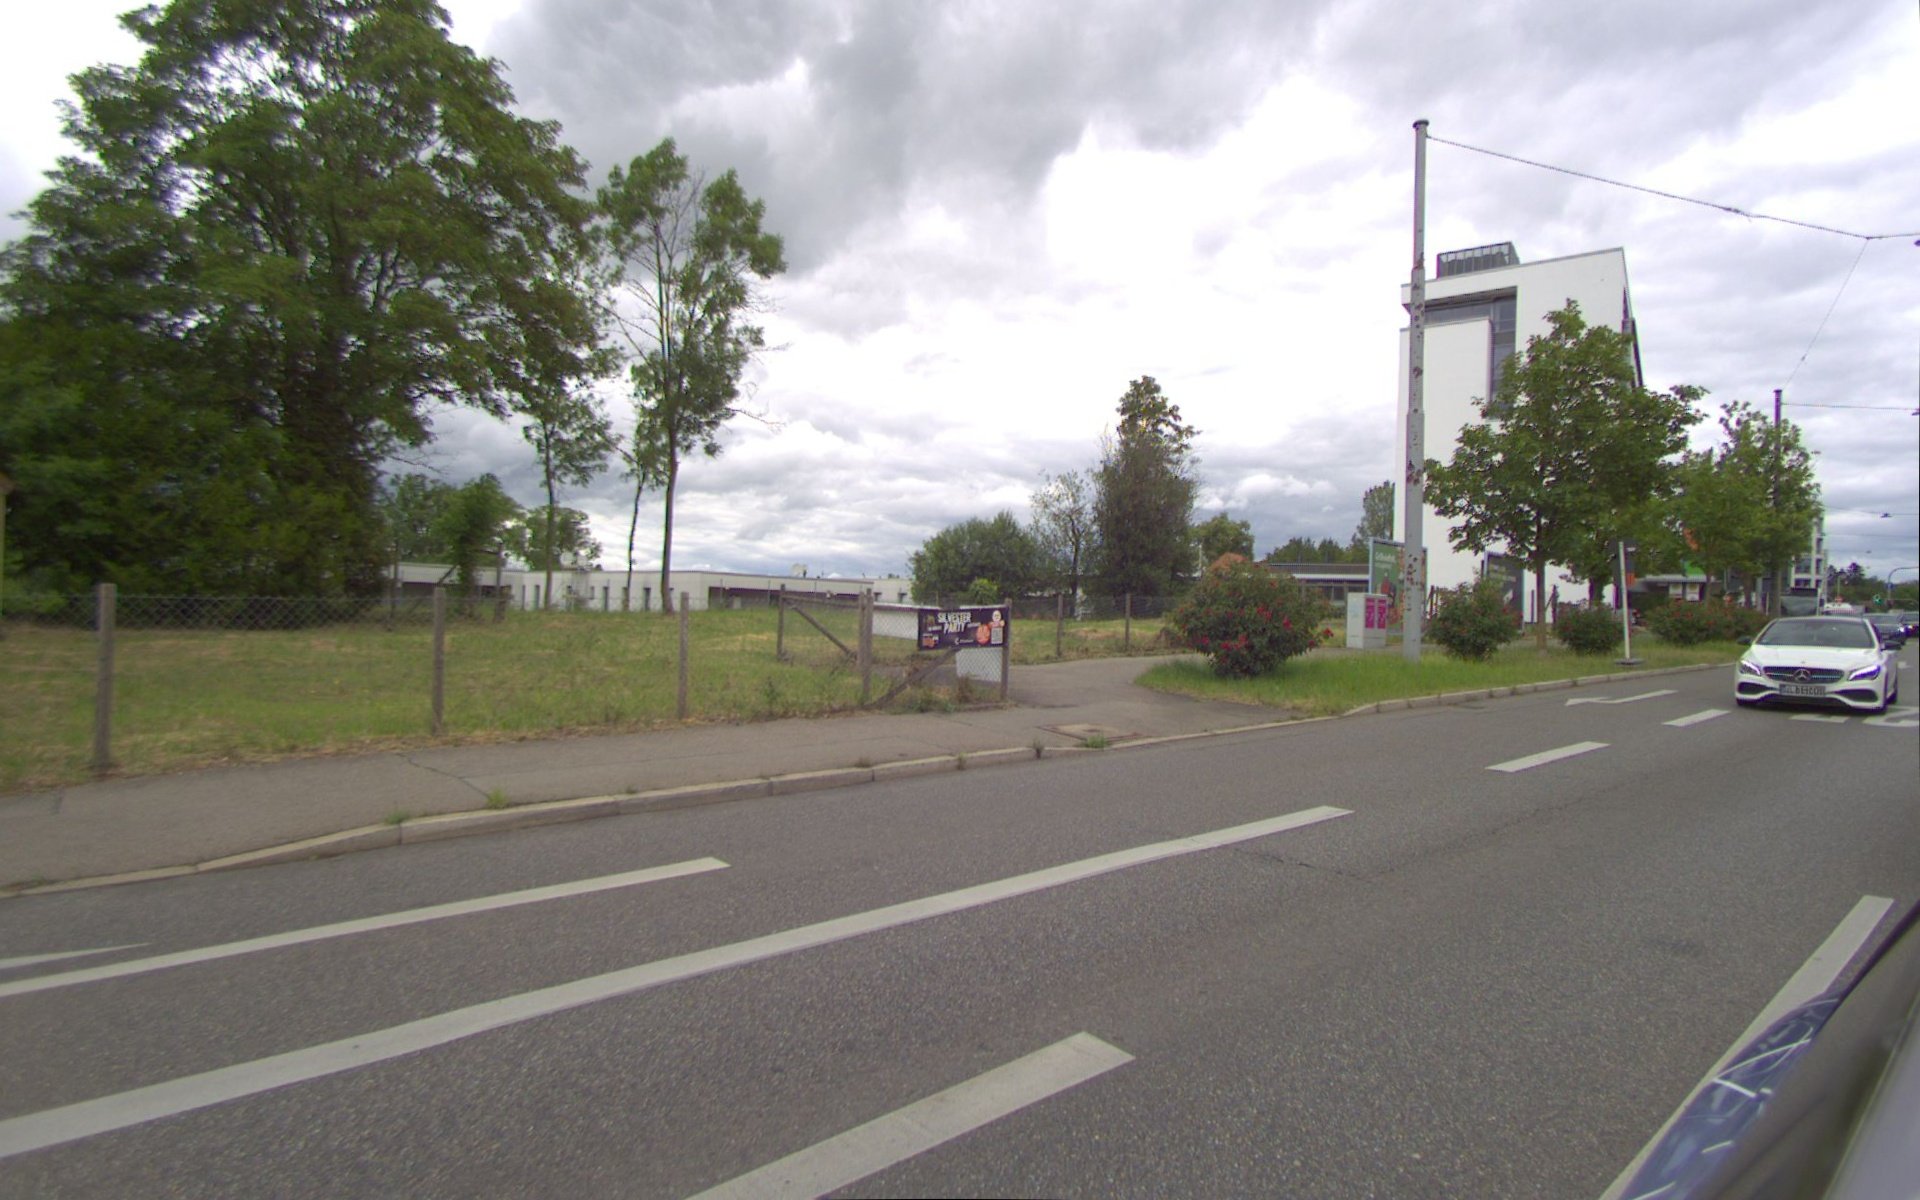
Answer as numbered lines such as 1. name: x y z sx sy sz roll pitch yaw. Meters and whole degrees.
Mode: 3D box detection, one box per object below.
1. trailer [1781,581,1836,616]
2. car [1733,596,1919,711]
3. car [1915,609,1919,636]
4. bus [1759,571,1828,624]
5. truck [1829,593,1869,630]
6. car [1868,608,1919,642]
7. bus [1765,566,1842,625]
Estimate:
1. trailer: 115.989 -0.079 138.515 3.086 4.324 14.687 1 -1 30
2. car: 14.121 0.734 16.348 4.693 1.524 1.870 -1 2 -44
3. car: 58.876 1.341 60.819 4.292 1.573 1.733 1 0 -41
4. bus: 56.463 -0.130 68.710 3.028 3.276 9.213 2 0 36
5. truck: 105.580 1.422 120.334 2.934 4.007 9.035 4 1 38
6. car: 44.170 1.147 47.590 4.294 1.501 1.733 1 0 -42
7. bus: 51.027 -0.221 61.439 2.975 3.282 9.733 1 0 37
